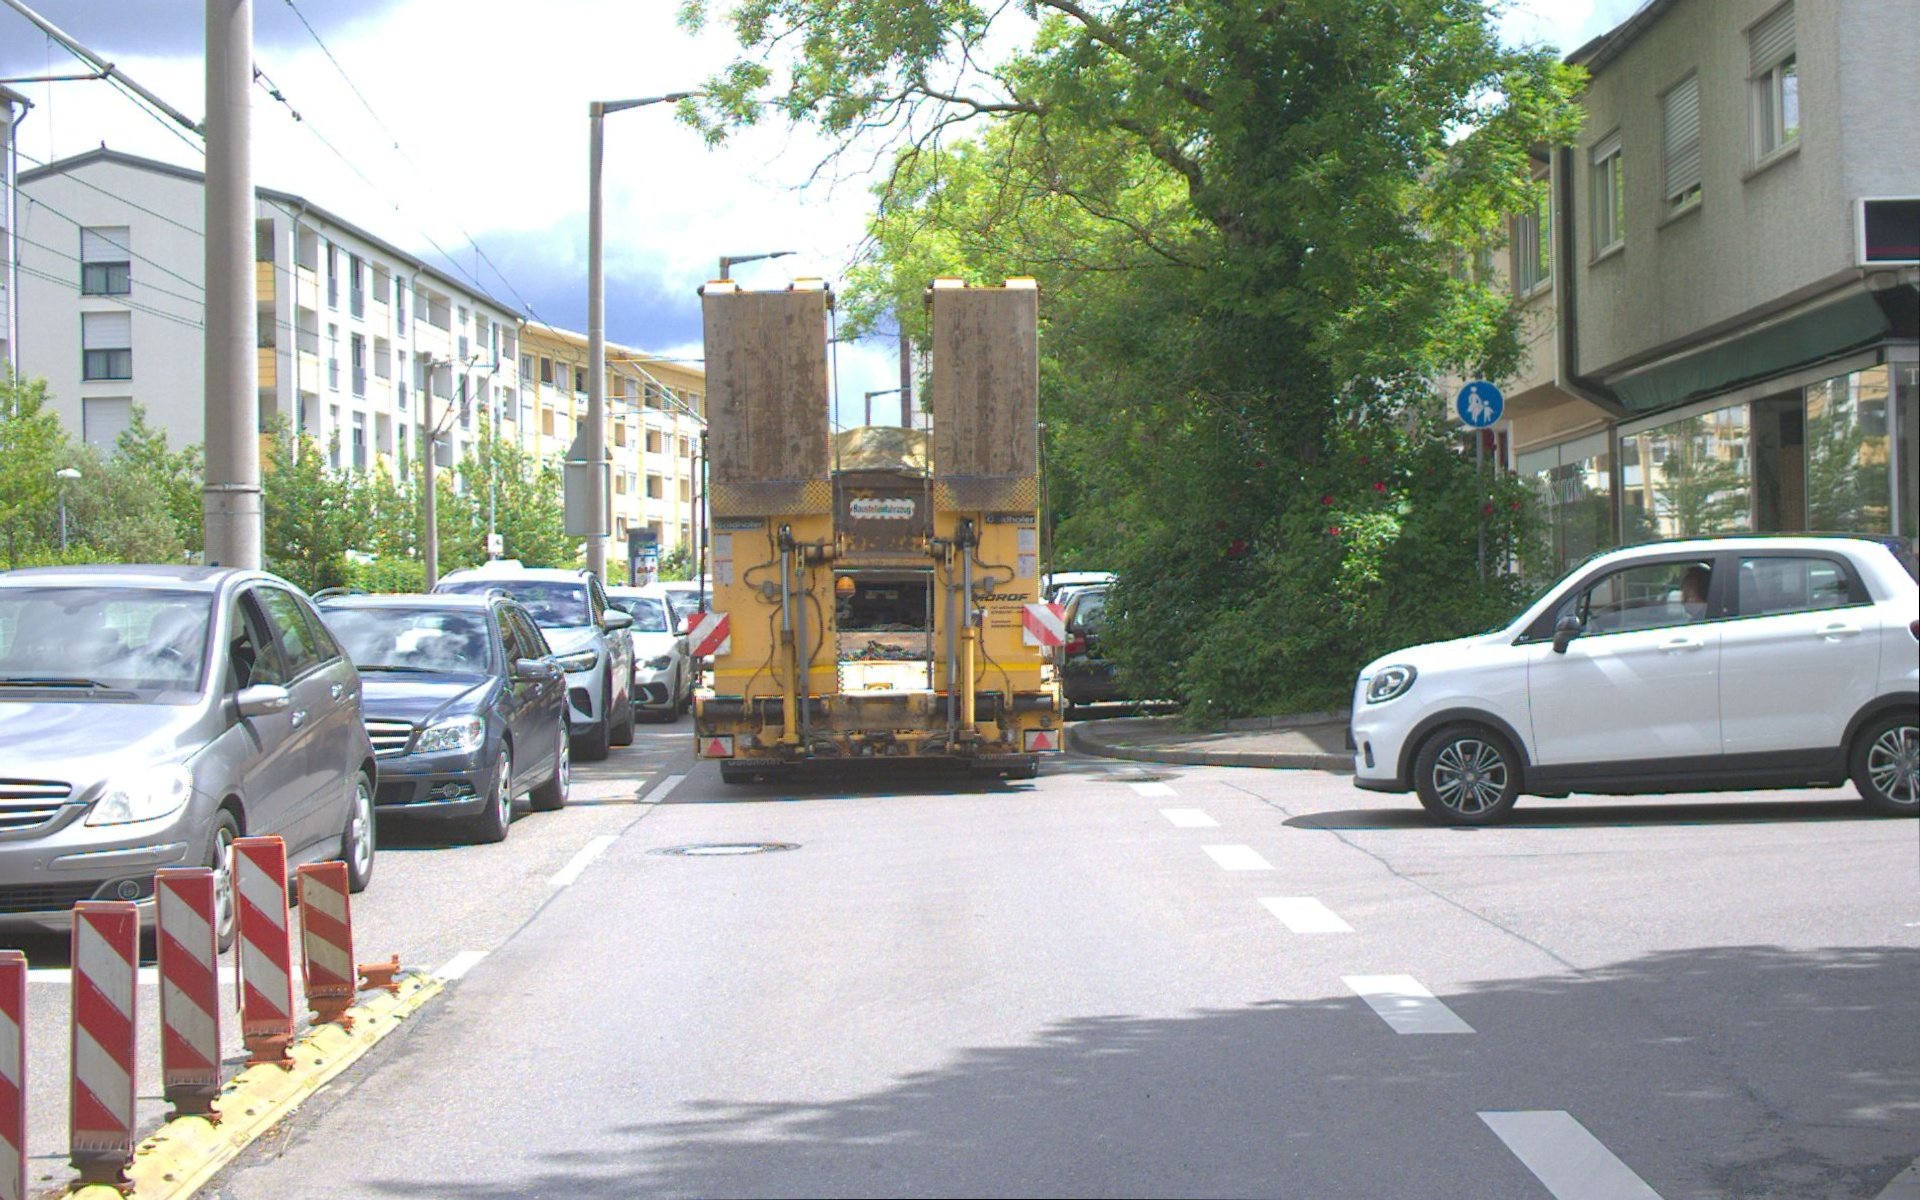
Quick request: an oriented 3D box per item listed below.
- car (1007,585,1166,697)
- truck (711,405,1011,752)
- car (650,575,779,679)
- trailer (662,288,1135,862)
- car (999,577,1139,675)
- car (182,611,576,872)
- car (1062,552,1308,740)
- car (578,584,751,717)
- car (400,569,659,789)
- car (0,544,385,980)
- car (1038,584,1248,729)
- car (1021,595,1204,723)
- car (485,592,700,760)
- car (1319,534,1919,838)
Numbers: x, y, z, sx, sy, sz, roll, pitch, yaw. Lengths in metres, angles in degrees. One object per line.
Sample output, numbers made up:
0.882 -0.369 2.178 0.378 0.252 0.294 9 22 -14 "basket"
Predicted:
1.782 0.560 49.719 1.993 1.382 4.001 -2 2 -2 "car"
-1.221 -0.308 37.955 2.833 3.319 7.986 -2 2 -3 "truck"
-4.184 0.440 59.116 1.993 1.579 4.001 -2 2 -2 "car"
-0.768 -0.315 28.986 3.050 3.759 11.614 -2 2 -3 "trailer"
1.730 0.398 55.808 1.993 1.382 4.001 -2 2 -2 "car"
-3.440 0.790 21.010 1.602 1.376 3.956 -2 0 1 "car"
2.140 0.398 33.816 1.993 1.612 4.001 -2 2 -2 "car"
-3.843 0.631 45.353 1.993 1.515 3.891 -2 2 -2 "car"
-3.653 0.643 29.780 1.602 1.726 3.938 -2 0 1 "car"
-3.870 0.643 15.231 1.802 1.646 4.131 -2 0 1 "car"
1.997 0.595 38.709 1.993 1.382 4.001 -2 2 -2 "car"
1.895 0.713 43.897 1.993 1.382 4.001 -2 2 -2 "car"
-3.996 0.788 37.945 1.993 1.588 3.891 -2 2 -2 "car"
3.986 0.470 19.811 3.600 1.579 1.999 -2 0 11 "car"
